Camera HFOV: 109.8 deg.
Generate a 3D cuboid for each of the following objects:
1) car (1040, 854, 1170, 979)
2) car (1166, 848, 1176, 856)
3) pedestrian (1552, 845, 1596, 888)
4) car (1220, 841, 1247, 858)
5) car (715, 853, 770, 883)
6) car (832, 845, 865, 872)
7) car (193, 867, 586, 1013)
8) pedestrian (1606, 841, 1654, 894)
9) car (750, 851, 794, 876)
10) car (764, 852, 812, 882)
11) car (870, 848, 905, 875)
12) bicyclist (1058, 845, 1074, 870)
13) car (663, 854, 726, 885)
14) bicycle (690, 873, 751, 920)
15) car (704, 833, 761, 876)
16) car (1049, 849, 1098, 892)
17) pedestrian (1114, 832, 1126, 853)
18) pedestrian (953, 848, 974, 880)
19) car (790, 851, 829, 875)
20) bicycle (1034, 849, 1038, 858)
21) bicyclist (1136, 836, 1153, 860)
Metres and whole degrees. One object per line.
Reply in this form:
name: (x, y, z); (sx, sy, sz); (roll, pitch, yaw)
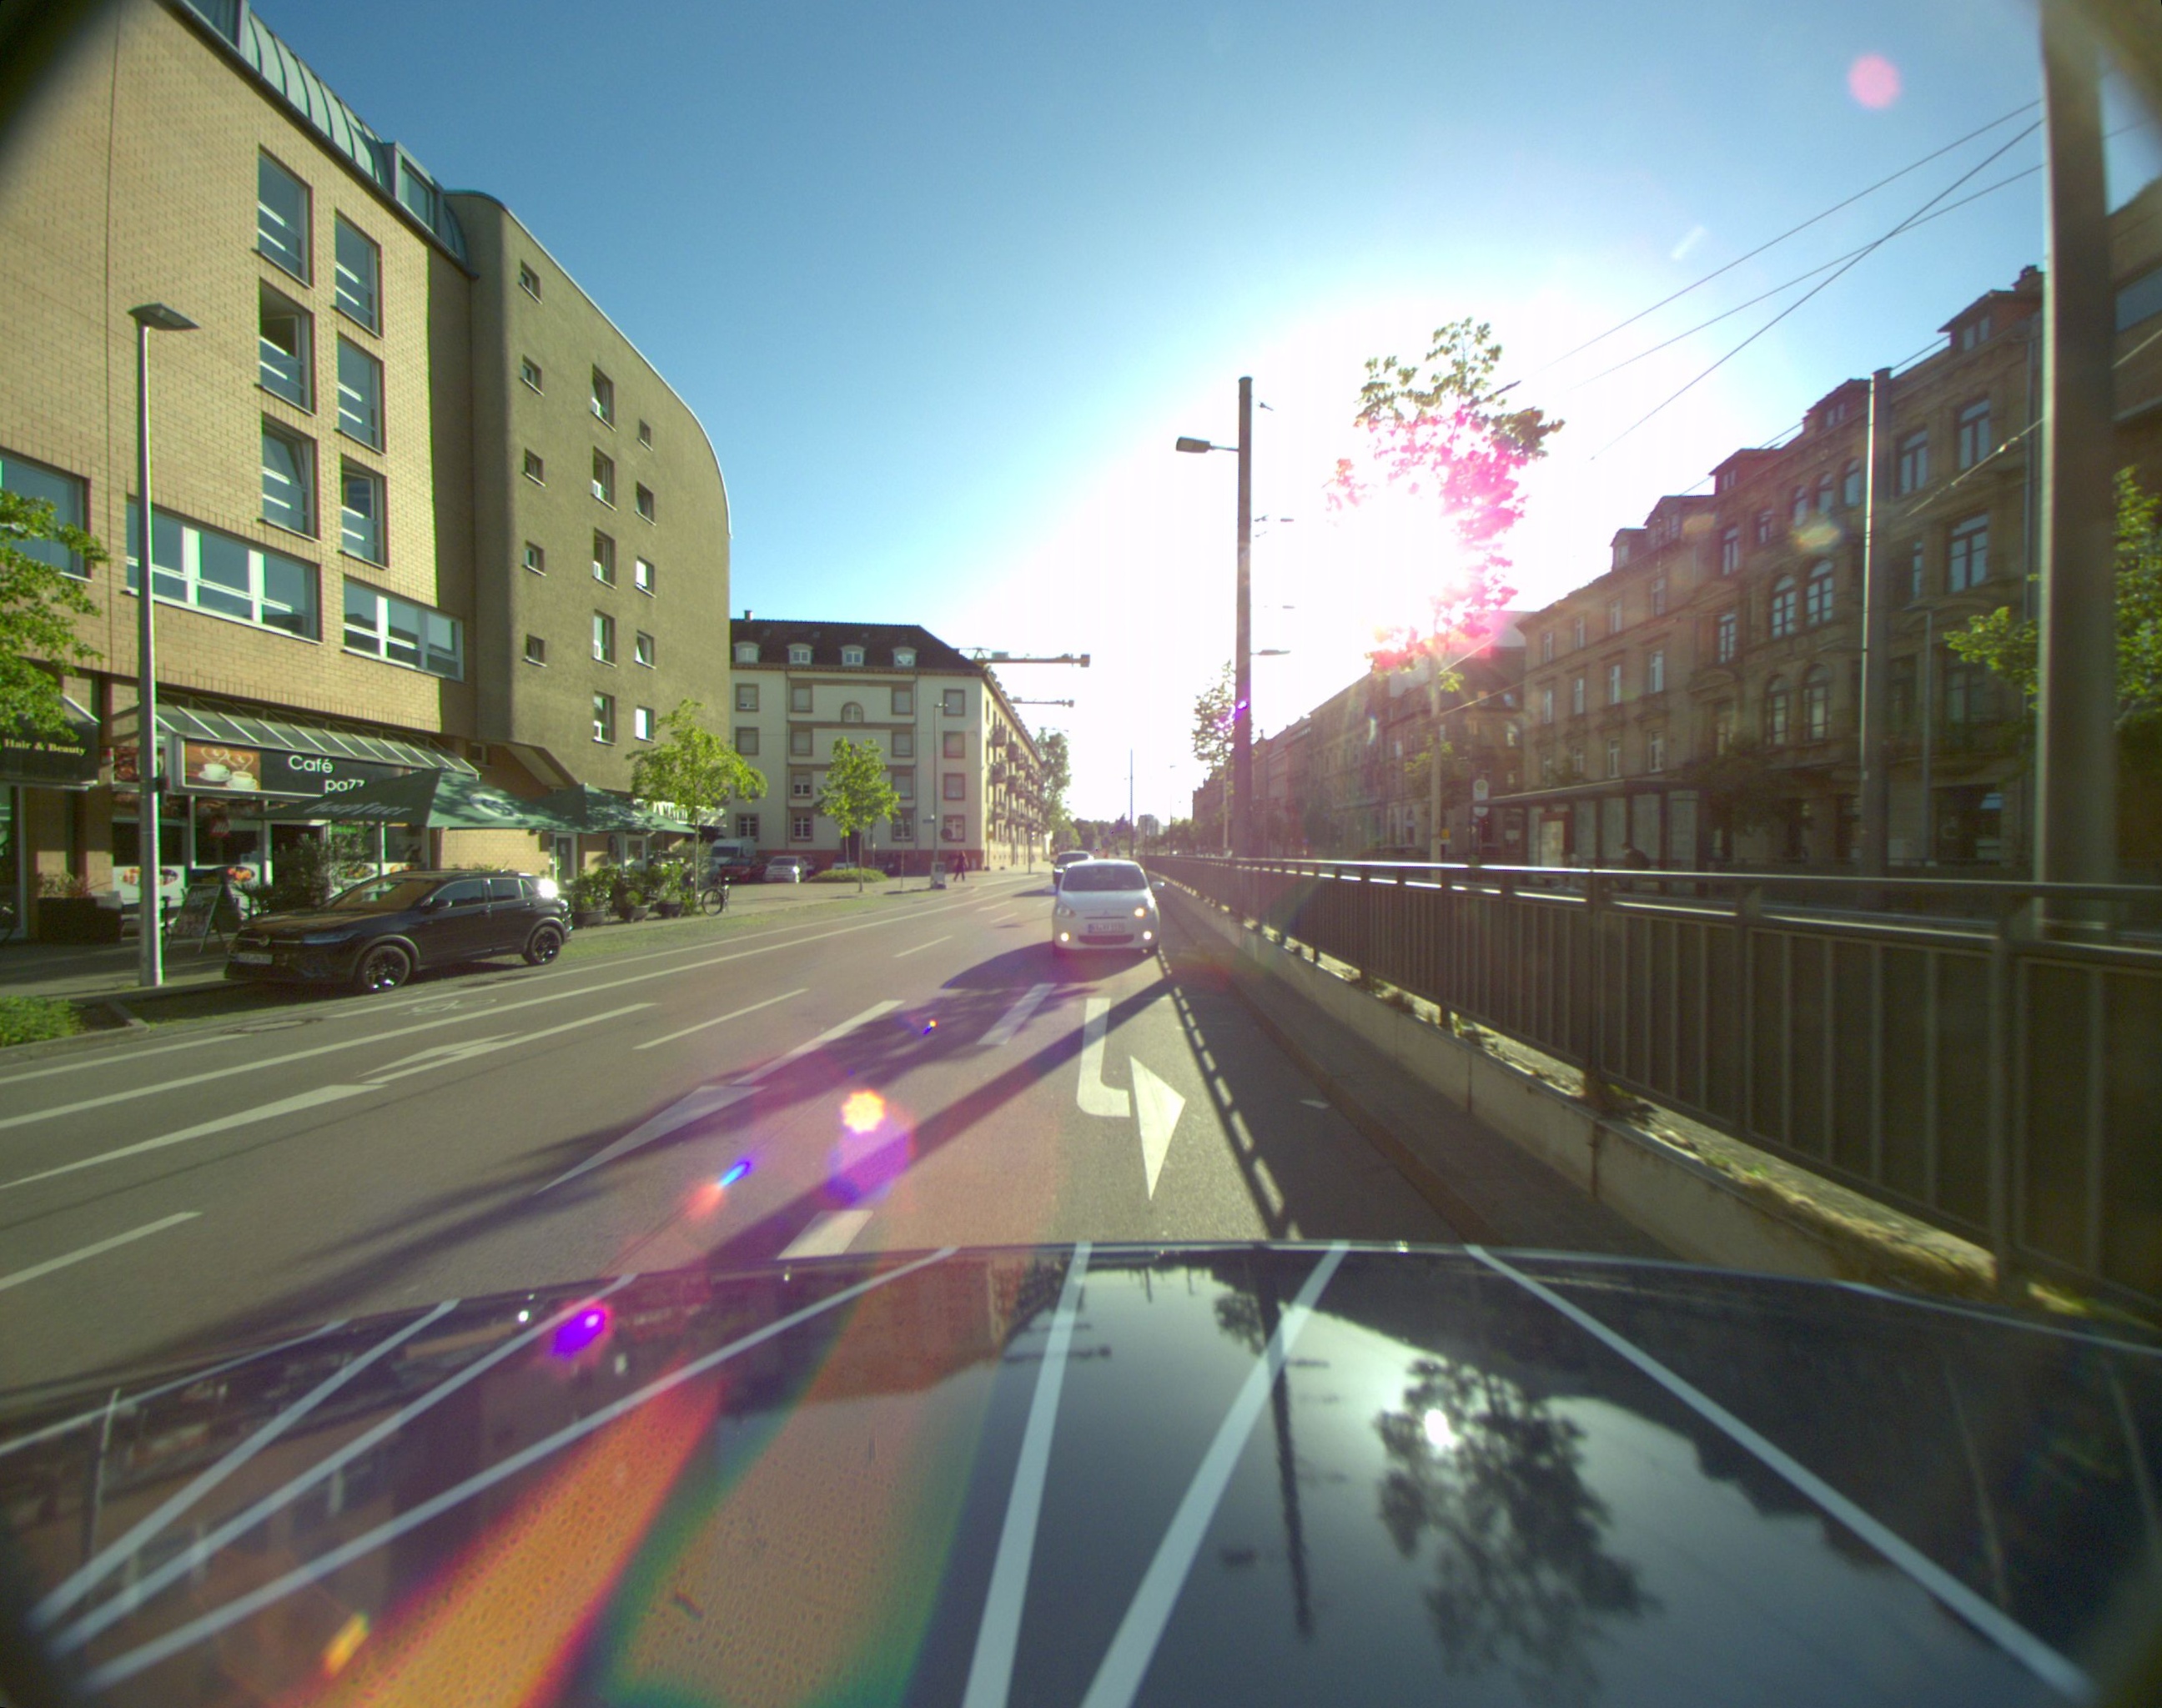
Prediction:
car: (0.371, 0.841, 12.348); (1.634, 1.499, 4.350); (-4, 1, 1)
car: (18.687, -0.509, 157.958); (1.800, 1.630, 4.476); (-1, 1, 2)
pedestrian: (13.758, 0.351, 21.221); (0.723, 1.161, 0.721); (1, 1, 1)
car: (17.999, -0.536, 89.924); (1.999, 1.869, 4.582); (-3, 1, -2)
car: (-17.824, 0.726, 40.186); (1.637, 1.444, 3.653); (-3, 1, -8)
car: (-16.061, 0.278, 52.616); (1.629, 1.677, 4.434); (-1, 2, -11)
car: (-9.888, 1.088, 11.433); (1.724, 1.627, 4.233); (0, 1, 8)
pedestrian: (13.839, 0.321, 19.179); (0.647, 1.301, 0.721); (1, 1, 1)
car: (-21.031, 0.589, 51.859); (1.698, 1.470, 4.435); (-3, 2, -8)
car: (-15.581, 0.669, 40.598); (1.668, 1.466, 3.833); (-3, 1, -10)
car: (-13.356, 0.488, 52.748); (1.697, 1.676, 4.437); (-3, 0, -6)
bicyclist: (-1.099, 0.248, 54.858); (0.736, 1.753, 0.935); (-1, 1, -32)
car: (-20.216, 0.777, 39.878); (1.637, 1.446, 3.732); (-3, 0, -5)
bicycle: (-10.098, 1.164, 21.376); (0.767, 1.075, 1.997); (4, 2, -2)
car: (-23.162, -0.068, 50.737); (1.929, 2.595, 5.955); (-1, 3, -10)
car: (-0.269, 0.706, 34.123); (1.899, 1.730, 4.000); (-2, 1, 3)
pedestrian: (2.847, -0.832, 55.011); (0.791, 1.449, 0.946); (0, 1, -1)
pedestrian: (-6.791, 0.563, 43.948); (0.885, 1.754, 1.106); (1, 2, 11)
car: (-18.542, 0.603, 51.997); (1.698, 1.421, 4.435); (-3, 2, -9)
bicycle: (-5.985, -0.071, 100.726); (0.419, 1.089, 2.198); (0, 1, 1)
bicyclist: (4.756, -0.439, 56.849); (0.886, 1.763, 0.854); (-1, 1, -25)
